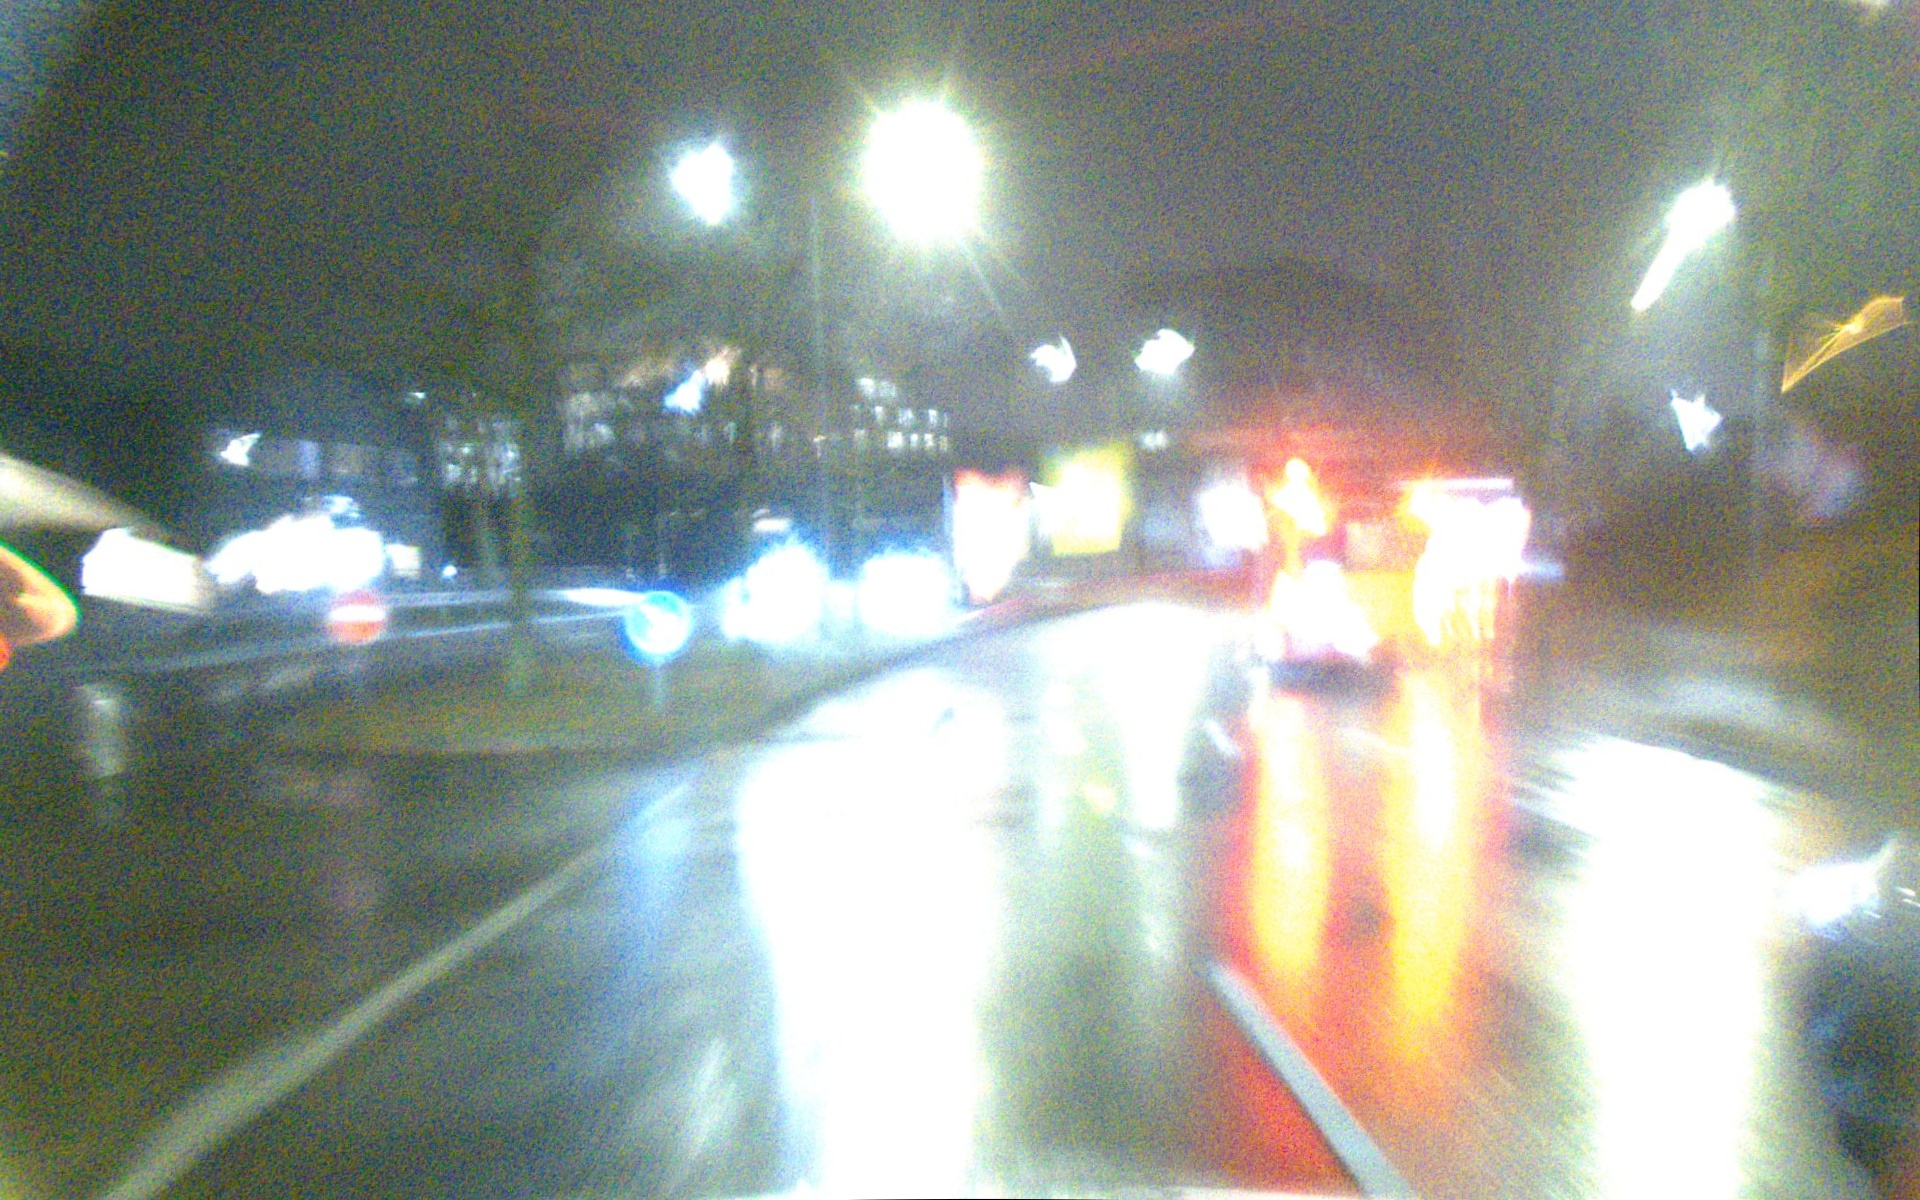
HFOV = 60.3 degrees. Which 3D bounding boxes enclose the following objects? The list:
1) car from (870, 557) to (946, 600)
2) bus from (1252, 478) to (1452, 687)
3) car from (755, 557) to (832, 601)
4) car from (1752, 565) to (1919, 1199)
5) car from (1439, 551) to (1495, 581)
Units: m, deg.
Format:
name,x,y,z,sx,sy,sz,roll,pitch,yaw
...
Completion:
name,x,y,z,sx,sy,sz,roll,pitch,yaw
car,-1.924,-0.819,62.833,1.826,1.489,4.644,-2,1,11
bus,6.955,-0.298,30.557,2.978,3.268,9.058,0,0,9
car,-6.256,-0.815,62.564,1.951,1.621,4.004,0,1,8
car,3.104,0.714,2.432,1.953,1.551,4.000,0,0,0
car,27.101,-1.835,88.351,1.745,1.527,3.987,1,2,34
